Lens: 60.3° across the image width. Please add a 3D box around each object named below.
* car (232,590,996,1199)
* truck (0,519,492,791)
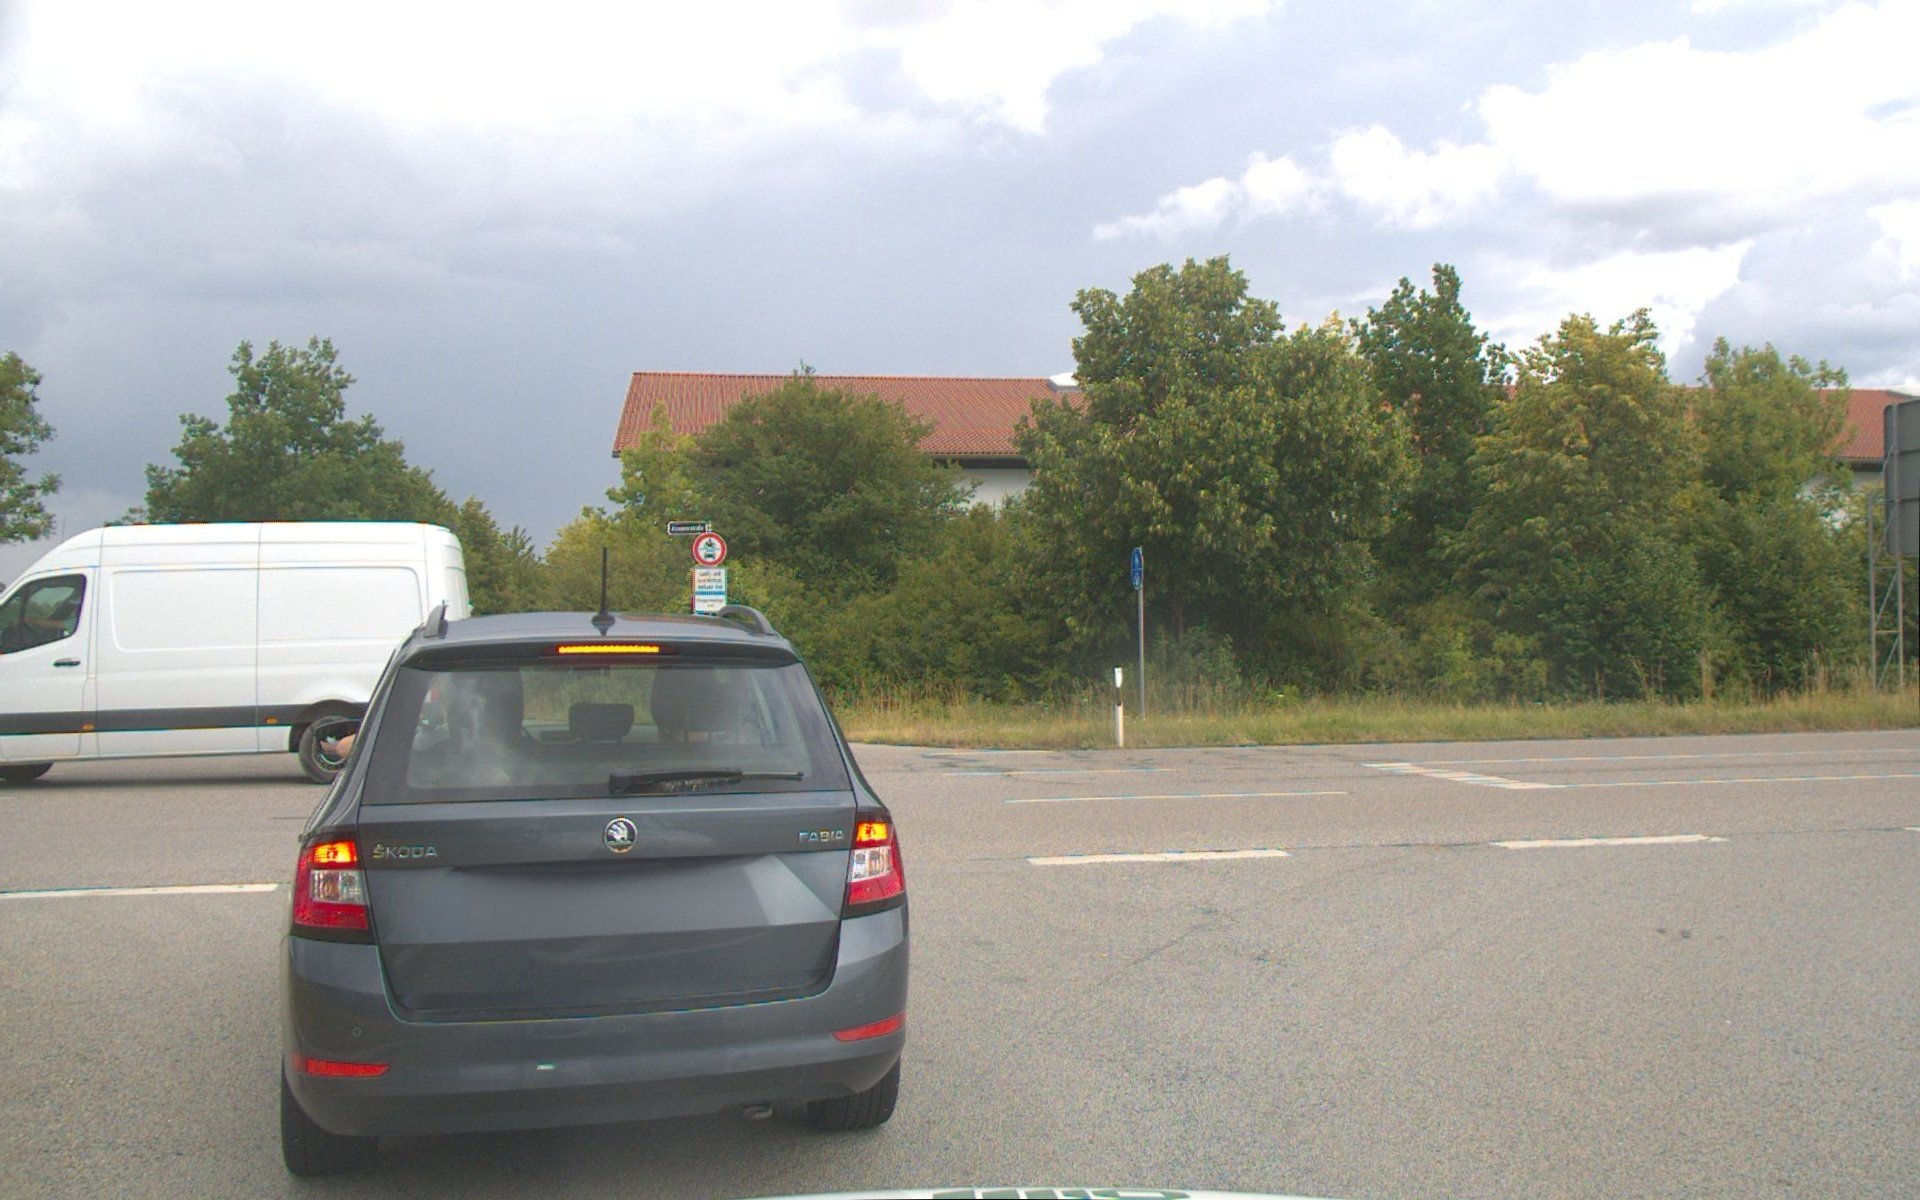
[{"bbox_3d":[-1.222,0.758,5.419,1.649,1.488,3.690,0,-1,-16],"label":"car"},{"bbox_3d":[-8.068,0.549,17.304,5.887,2.621,1.995,-1,-2,-10],"label":"truck"}]
